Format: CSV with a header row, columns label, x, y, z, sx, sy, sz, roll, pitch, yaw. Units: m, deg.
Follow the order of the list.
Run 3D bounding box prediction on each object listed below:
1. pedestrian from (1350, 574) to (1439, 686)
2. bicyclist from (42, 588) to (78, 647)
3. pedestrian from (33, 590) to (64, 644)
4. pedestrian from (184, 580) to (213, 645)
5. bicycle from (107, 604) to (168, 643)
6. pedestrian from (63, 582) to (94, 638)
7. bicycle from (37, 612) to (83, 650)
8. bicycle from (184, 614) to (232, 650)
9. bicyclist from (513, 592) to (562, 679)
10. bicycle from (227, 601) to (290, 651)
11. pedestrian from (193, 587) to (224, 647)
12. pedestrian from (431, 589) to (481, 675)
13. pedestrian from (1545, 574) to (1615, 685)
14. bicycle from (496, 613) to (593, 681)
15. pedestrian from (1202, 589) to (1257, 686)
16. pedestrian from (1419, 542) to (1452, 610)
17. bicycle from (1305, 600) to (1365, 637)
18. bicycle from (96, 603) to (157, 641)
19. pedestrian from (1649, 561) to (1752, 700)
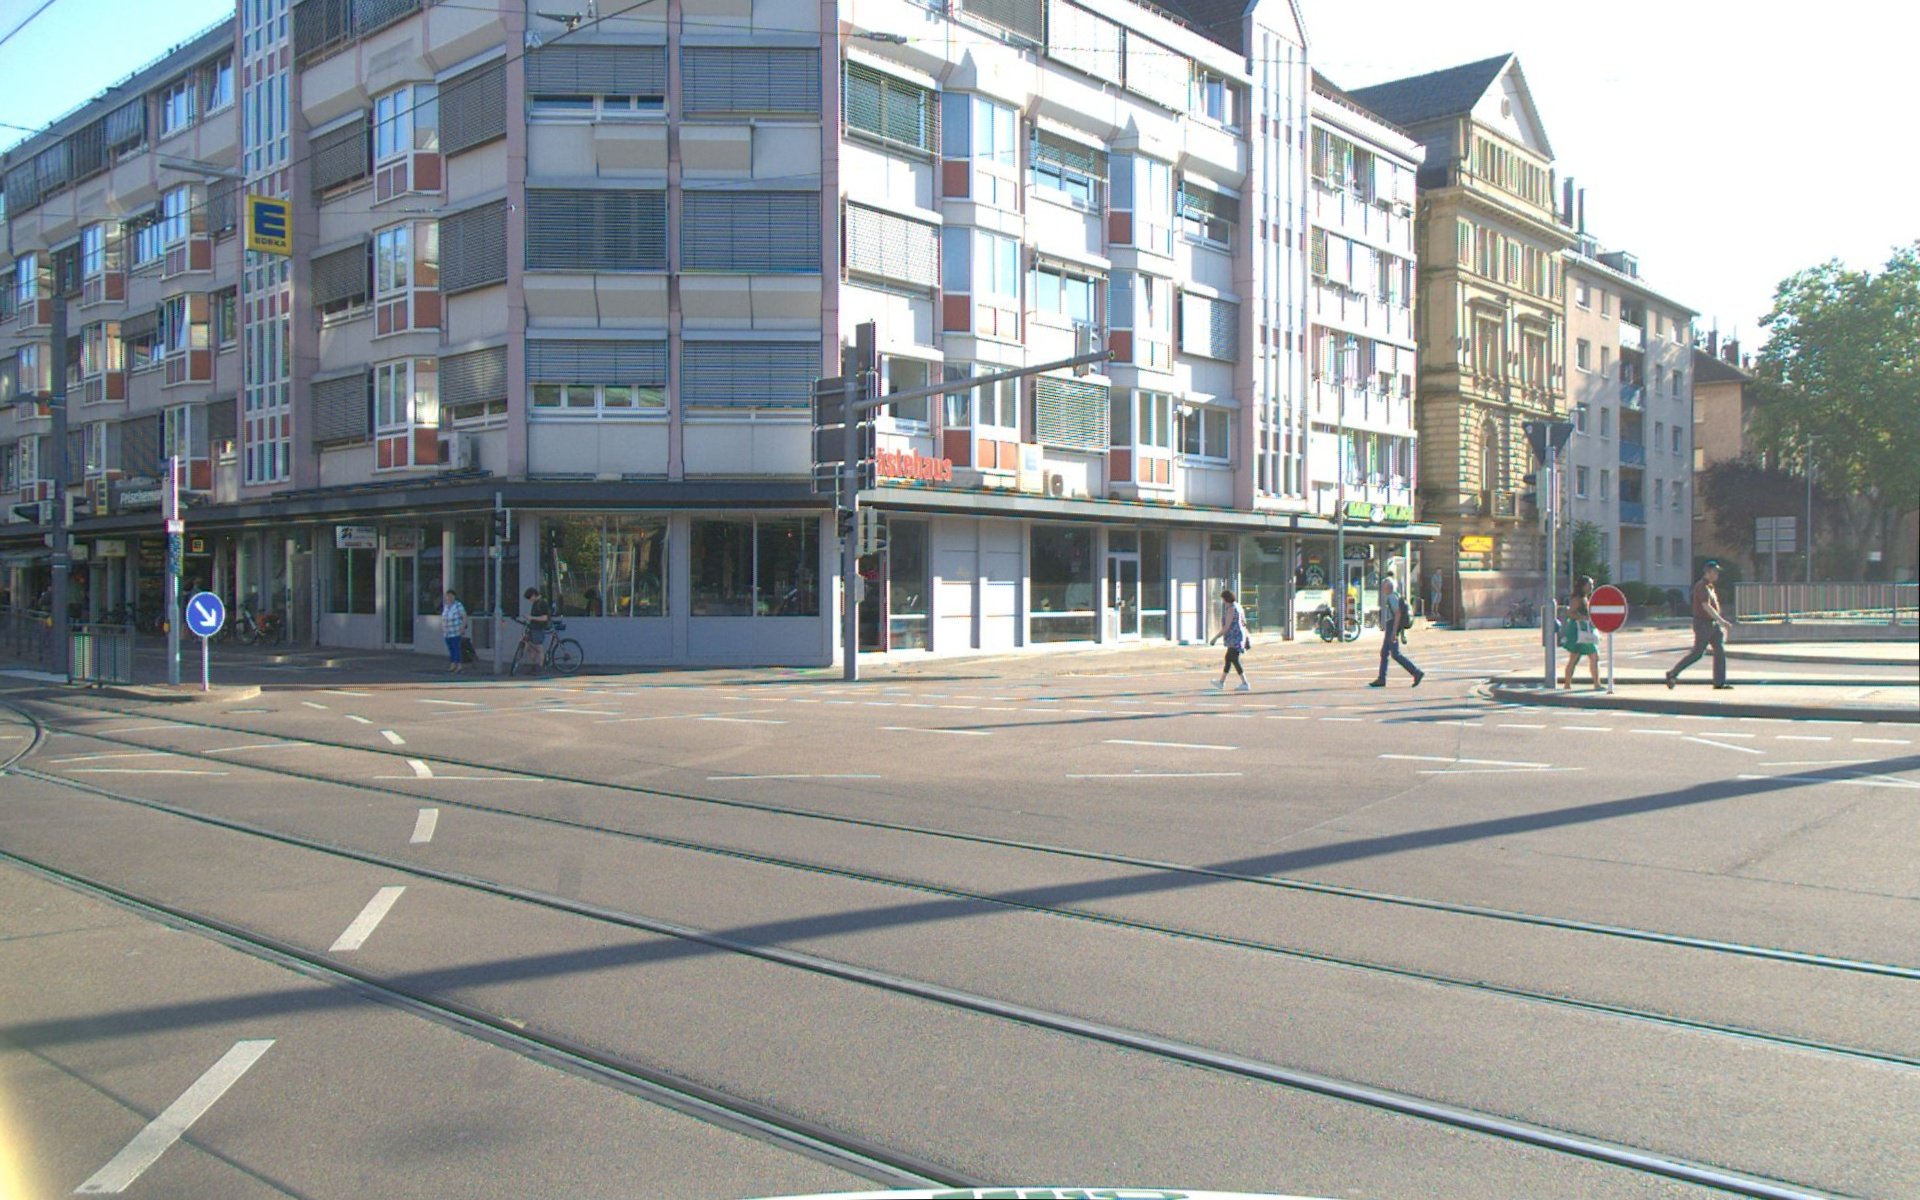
label,x,y,z,sx,sy,sz,roll,pitch,yaw
pedestrian,7.128,0.466,27.125,1.174,1.761,0.853,2,1,35
bicyclist,-24.885,0.476,45.748,0.624,1.559,0.789,-4,3,-43
pedestrian,-28.373,0.523,51.509,0.746,1.673,0.542,0,1,-41
pedestrian,-22.328,0.361,48.496,0.605,1.884,0.595,0,1,-41
bicycle,-25.341,0.723,50.977,0.475,1.138,1.641,2,1,39
pedestrian,-28.786,0.333,54.004,0.806,1.809,0.676,1,1,-21
bicycle,-24.944,0.848,45.834,0.624,0.946,1.880,-4,4,-43
bicycle,-20.396,0.859,44.844,0.498,0.933,2.044,0,0,-45
bicyclist,-8.183,0.676,32.035,0.630,1.624,0.654,2,4,43
bicycle,-18.183,0.646,42.844,0.724,1.248,2.294,0,0,-45
pedestrian,-21.053,0.472,46.356,0.597,1.664,0.603,1,1,-5
pedestrian,-9.996,0.631,32.808,0.699,1.691,0.634,-1,0,16
pedestrian,8.528,0.392,22.729,0.692,1.478,0.853,2,1,35
bicycle,-8.073,0.899,32.169,0.630,1.165,1.759,2,4,42
pedestrian,4.317,0.605,26.446,0.835,1.491,0.686,1,-4,10
pedestrian,17.395,-0.876,60.519,0.909,2.440,0.959,2,1,29
bicycle,11.324,0.550,49.904,2.067,1.089,0.447,0,1,-34
bicycle,-26.232,0.680,52.070,0.555,1.138,1.641,2,1,39
pedestrian,10.555,0.412,23.580,1.174,1.916,0.853,2,1,35
